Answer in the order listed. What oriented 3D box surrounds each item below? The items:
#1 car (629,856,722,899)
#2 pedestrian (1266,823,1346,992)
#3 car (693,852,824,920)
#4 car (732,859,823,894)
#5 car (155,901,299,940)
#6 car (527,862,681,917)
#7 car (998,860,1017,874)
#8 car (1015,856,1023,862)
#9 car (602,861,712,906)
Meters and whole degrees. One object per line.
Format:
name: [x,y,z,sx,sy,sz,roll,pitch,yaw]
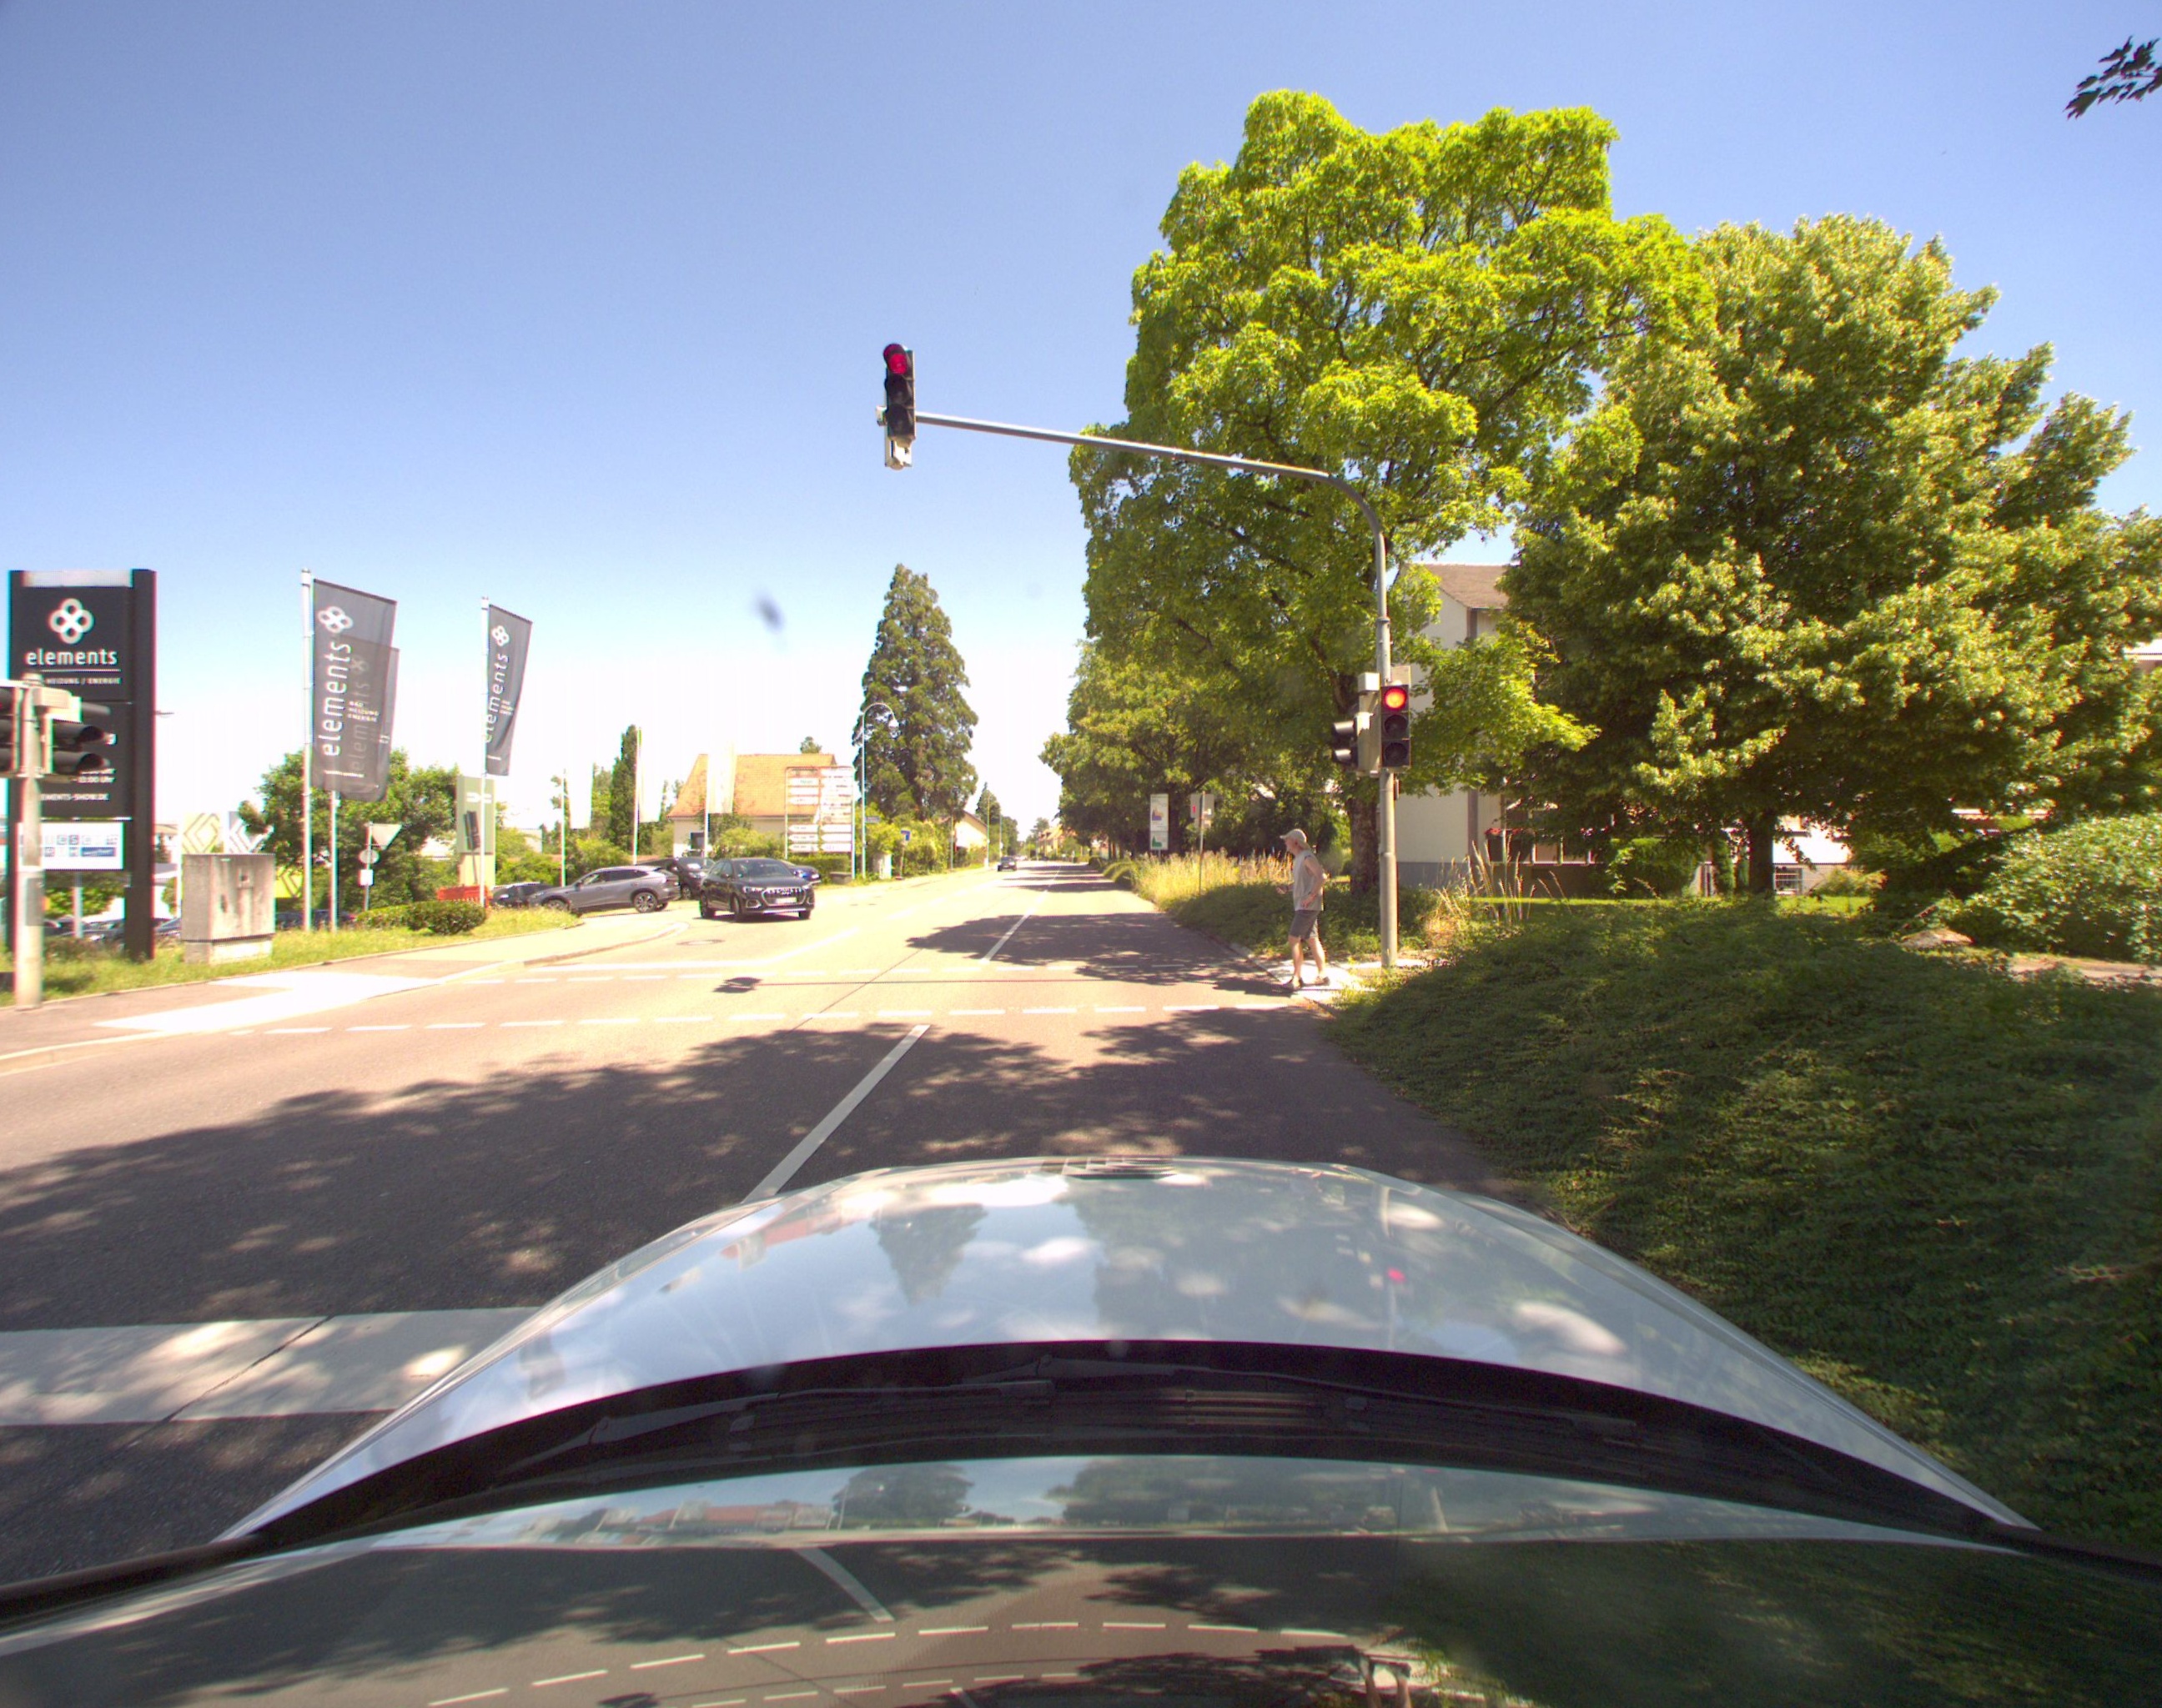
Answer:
car: [-17.047,0.974,34.348,3.144,1.714,1.569,0,-1,-9]
pedestrian: [2.442,0.552,8.855,0.564,1.751,0.609,0,-1,-34]
car: [-8.412,0.817,21.019,1.938,1.526,4.257,-2,-1,-39]
car: [-13.552,0.975,36.524,3.486,1.427,1.597,-2,0,-6]
car: [-34.666,2.694,33.113,3.973,1.413,1.756,0,-1,0]
car: [-16.462,1.186,28.352,4.307,1.717,1.874,-1,0,-18]
car: [-7.229,1.239,80.262,1.426,1.322,3.356,0,-1,2]
car: [-14.653,1.099,192.731,1.551,1.448,3.786,0,-1,-2]
car: [-16.811,1.148,32.429,3.487,1.617,1.597,-2,0,-7]
